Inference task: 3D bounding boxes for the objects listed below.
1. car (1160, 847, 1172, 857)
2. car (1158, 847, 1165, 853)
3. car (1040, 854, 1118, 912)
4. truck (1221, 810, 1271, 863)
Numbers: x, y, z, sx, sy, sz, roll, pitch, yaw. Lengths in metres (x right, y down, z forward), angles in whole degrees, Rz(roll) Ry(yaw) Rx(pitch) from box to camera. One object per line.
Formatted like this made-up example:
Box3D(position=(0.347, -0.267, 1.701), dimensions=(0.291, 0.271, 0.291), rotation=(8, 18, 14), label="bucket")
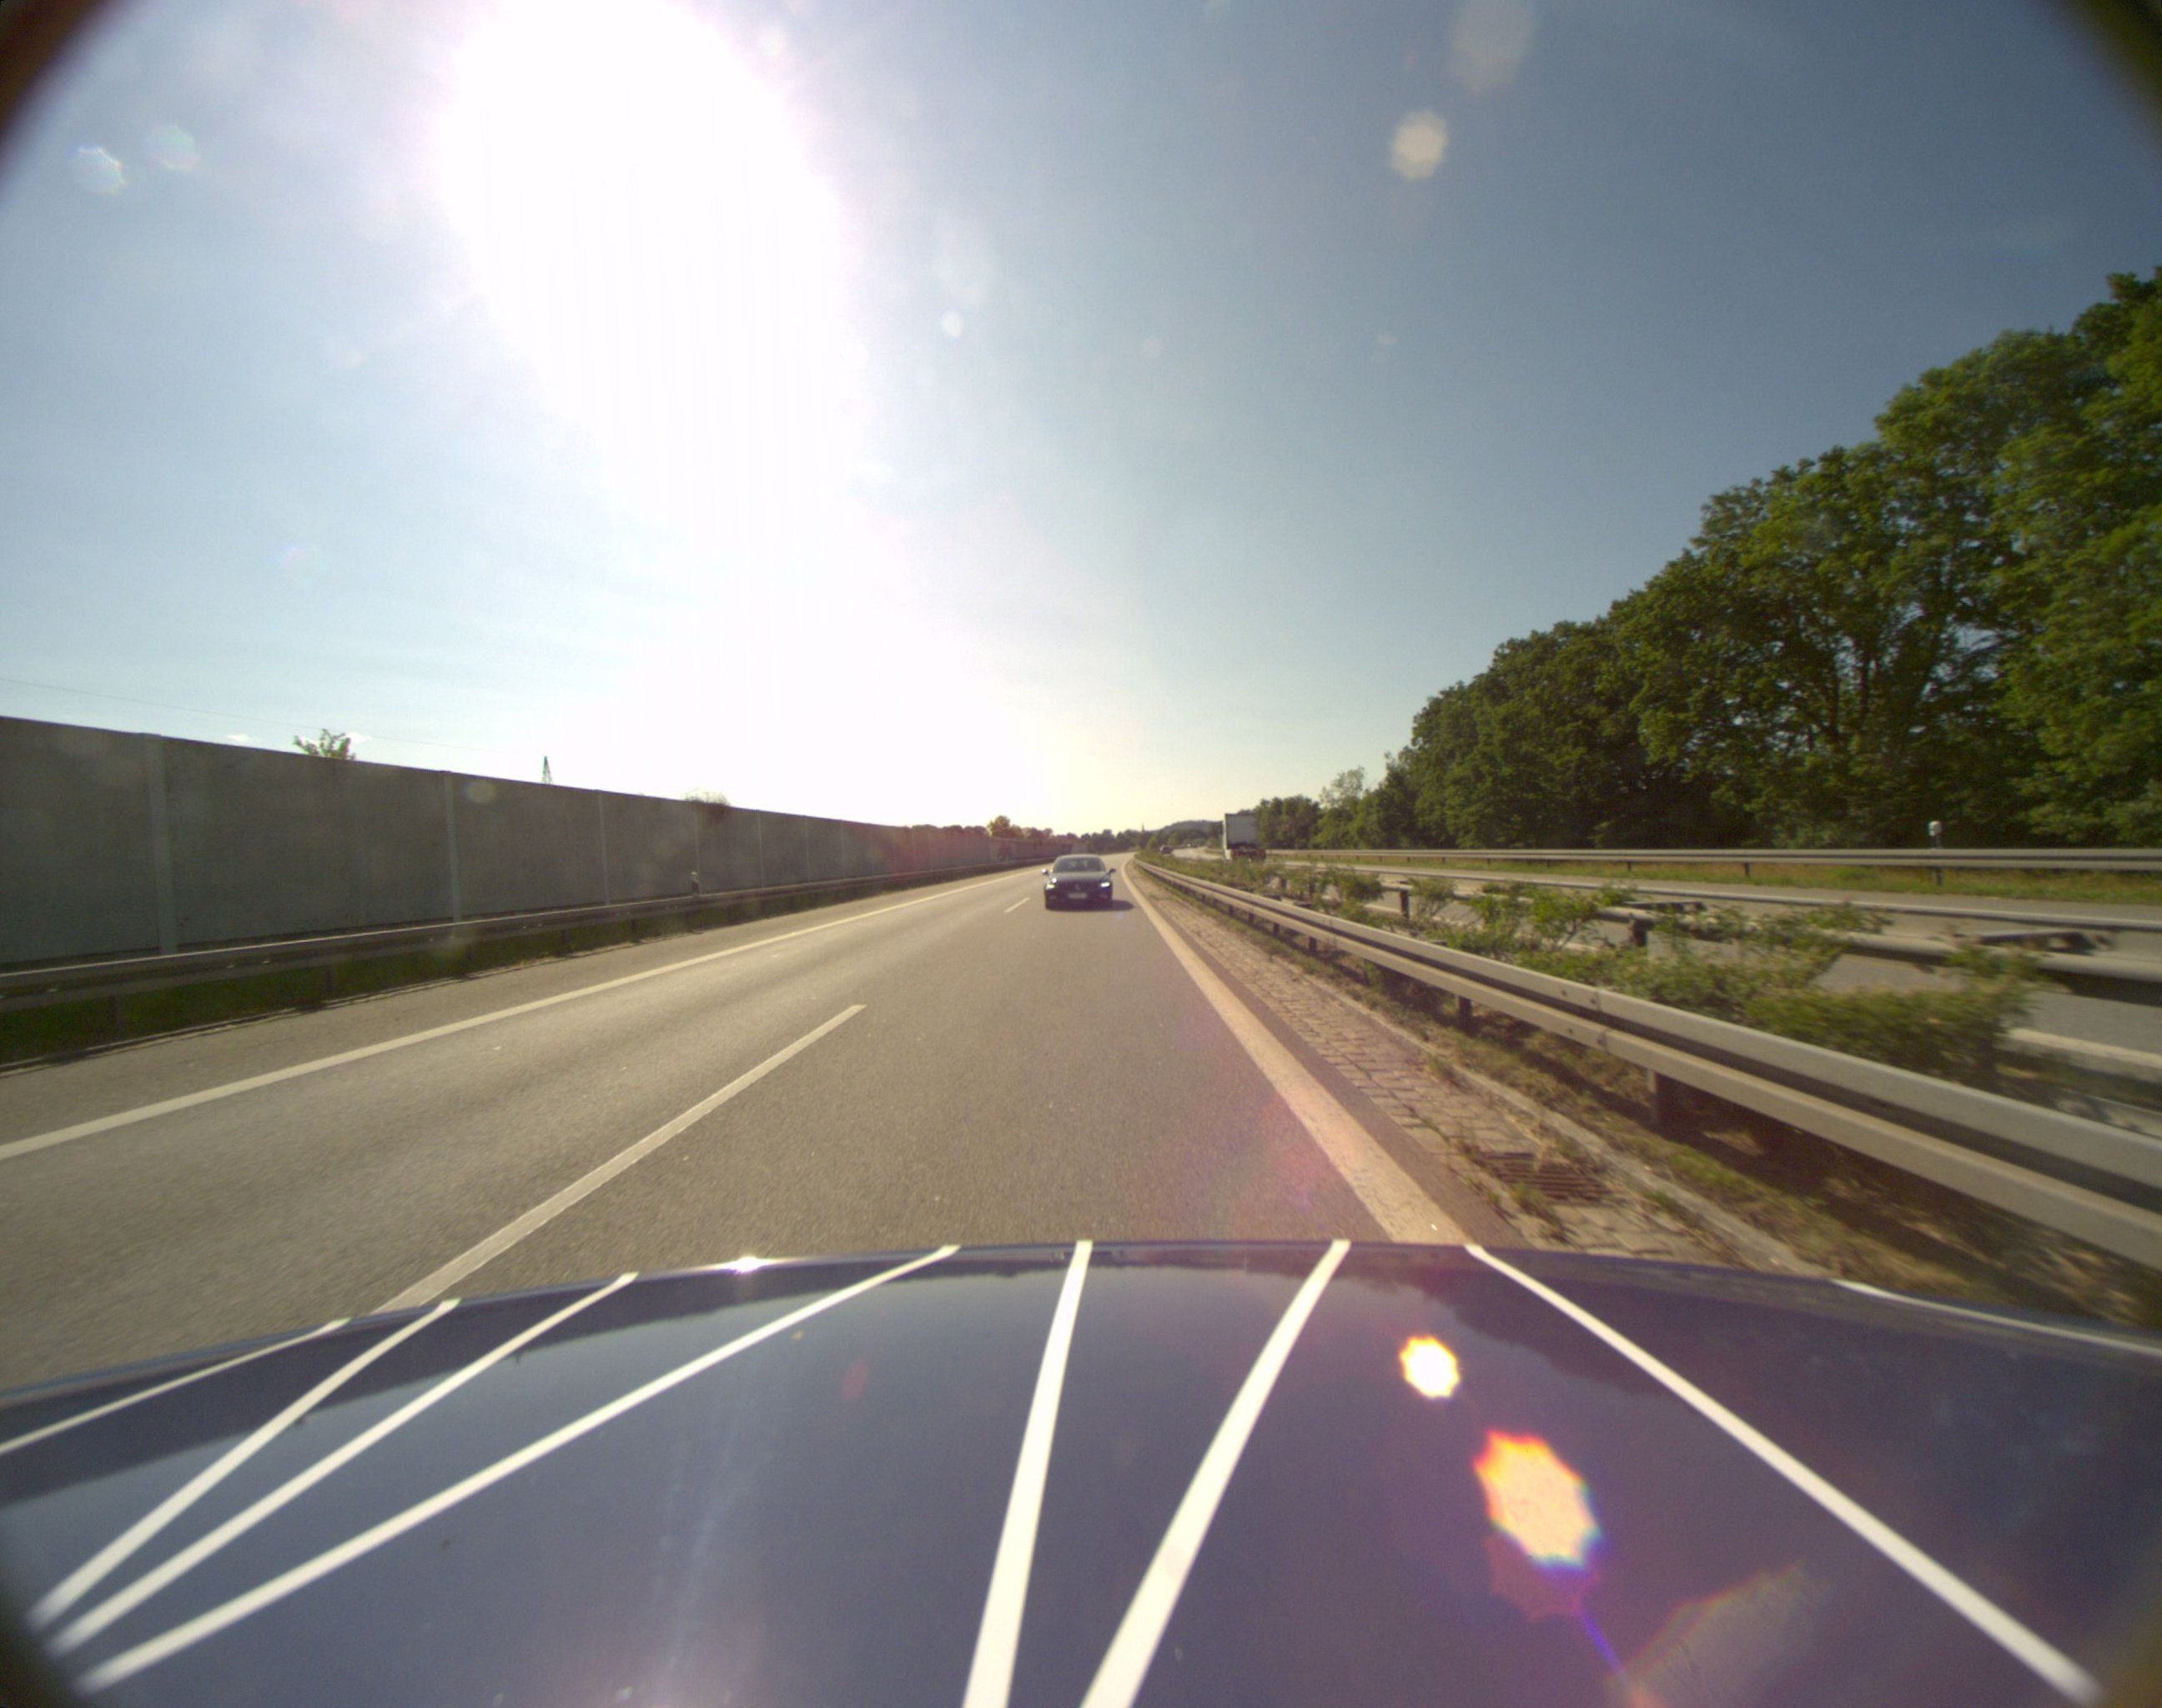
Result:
Box3D(position=(14.640, -0.366, 130.739), dimensions=(1.846, 1.597, 4.001), rotation=(0, 0, 3), label="car")
Box3D(position=(22.247, -1.059, 209.783), dimensions=(1.935, 1.496, 4.795), rotation=(0, 0, 6), label="car")
Box3D(position=(0.050, 0.747, 21.840), dimensions=(1.722, 1.392, 4.414), rotation=(-1, 1, 6), label="car")
Box3D(position=(12.700, -1.286, 59.075), dimensions=(2.631, 3.817, 6.810), rotation=(0, 0, 2), label="truck")
